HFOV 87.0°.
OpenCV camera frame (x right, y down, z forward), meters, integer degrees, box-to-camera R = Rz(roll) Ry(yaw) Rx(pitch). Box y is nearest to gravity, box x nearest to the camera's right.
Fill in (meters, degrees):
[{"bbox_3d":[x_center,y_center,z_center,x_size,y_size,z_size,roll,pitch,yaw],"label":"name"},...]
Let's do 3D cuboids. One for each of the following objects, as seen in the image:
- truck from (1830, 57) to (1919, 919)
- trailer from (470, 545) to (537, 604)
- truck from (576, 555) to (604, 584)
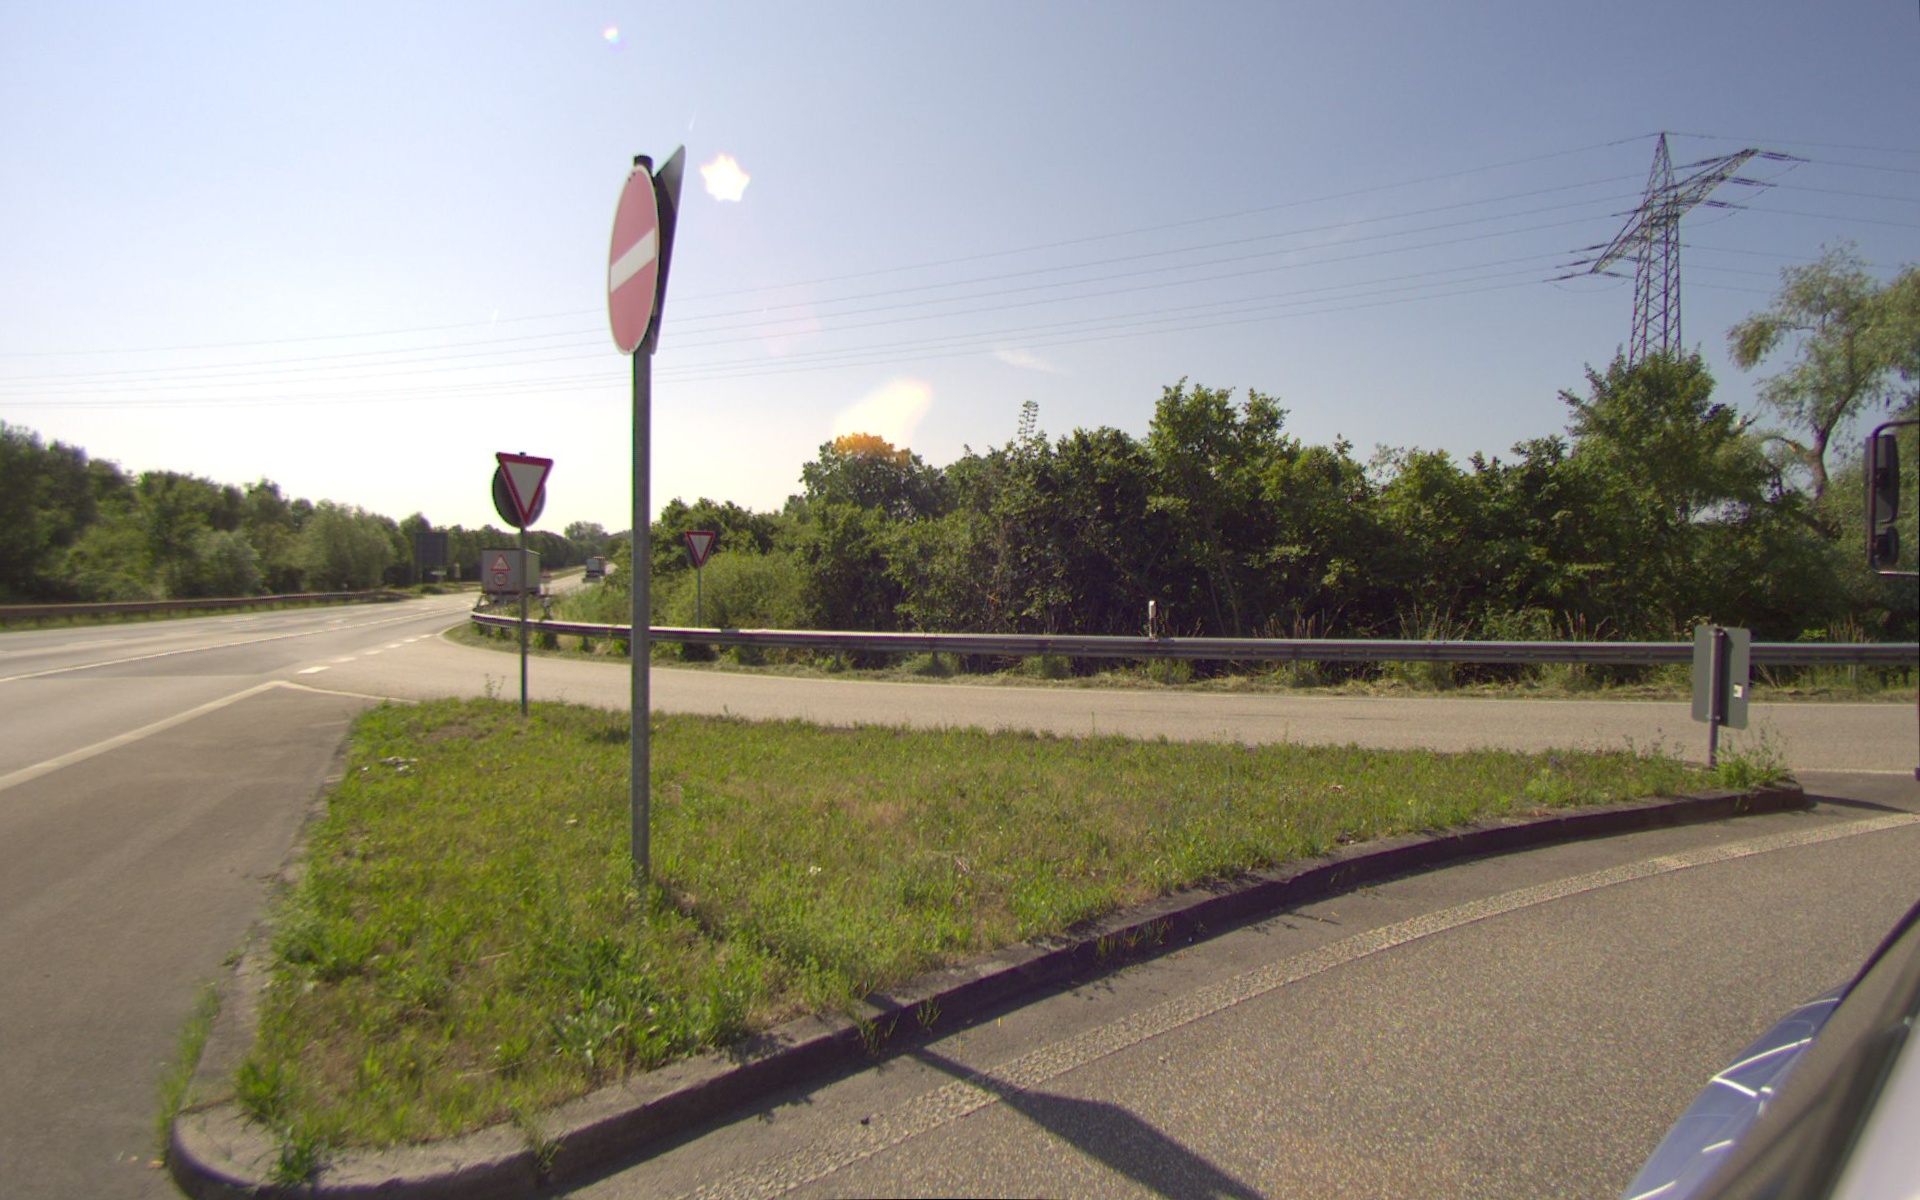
[{"bbox_3d":[8.677,-0.473,5.307,9.070,3.707,2.696,0,0,-25],"label":"truck"},{"bbox_3d":[-34.133,-1.926,76.156,2.869,4.060,13.446,0,1,-17],"label":"trailer"},{"bbox_3d":[-73.398,-5.992,200.870,4.051,5.524,13.635,0,1,-15],"label":"truck"}]
